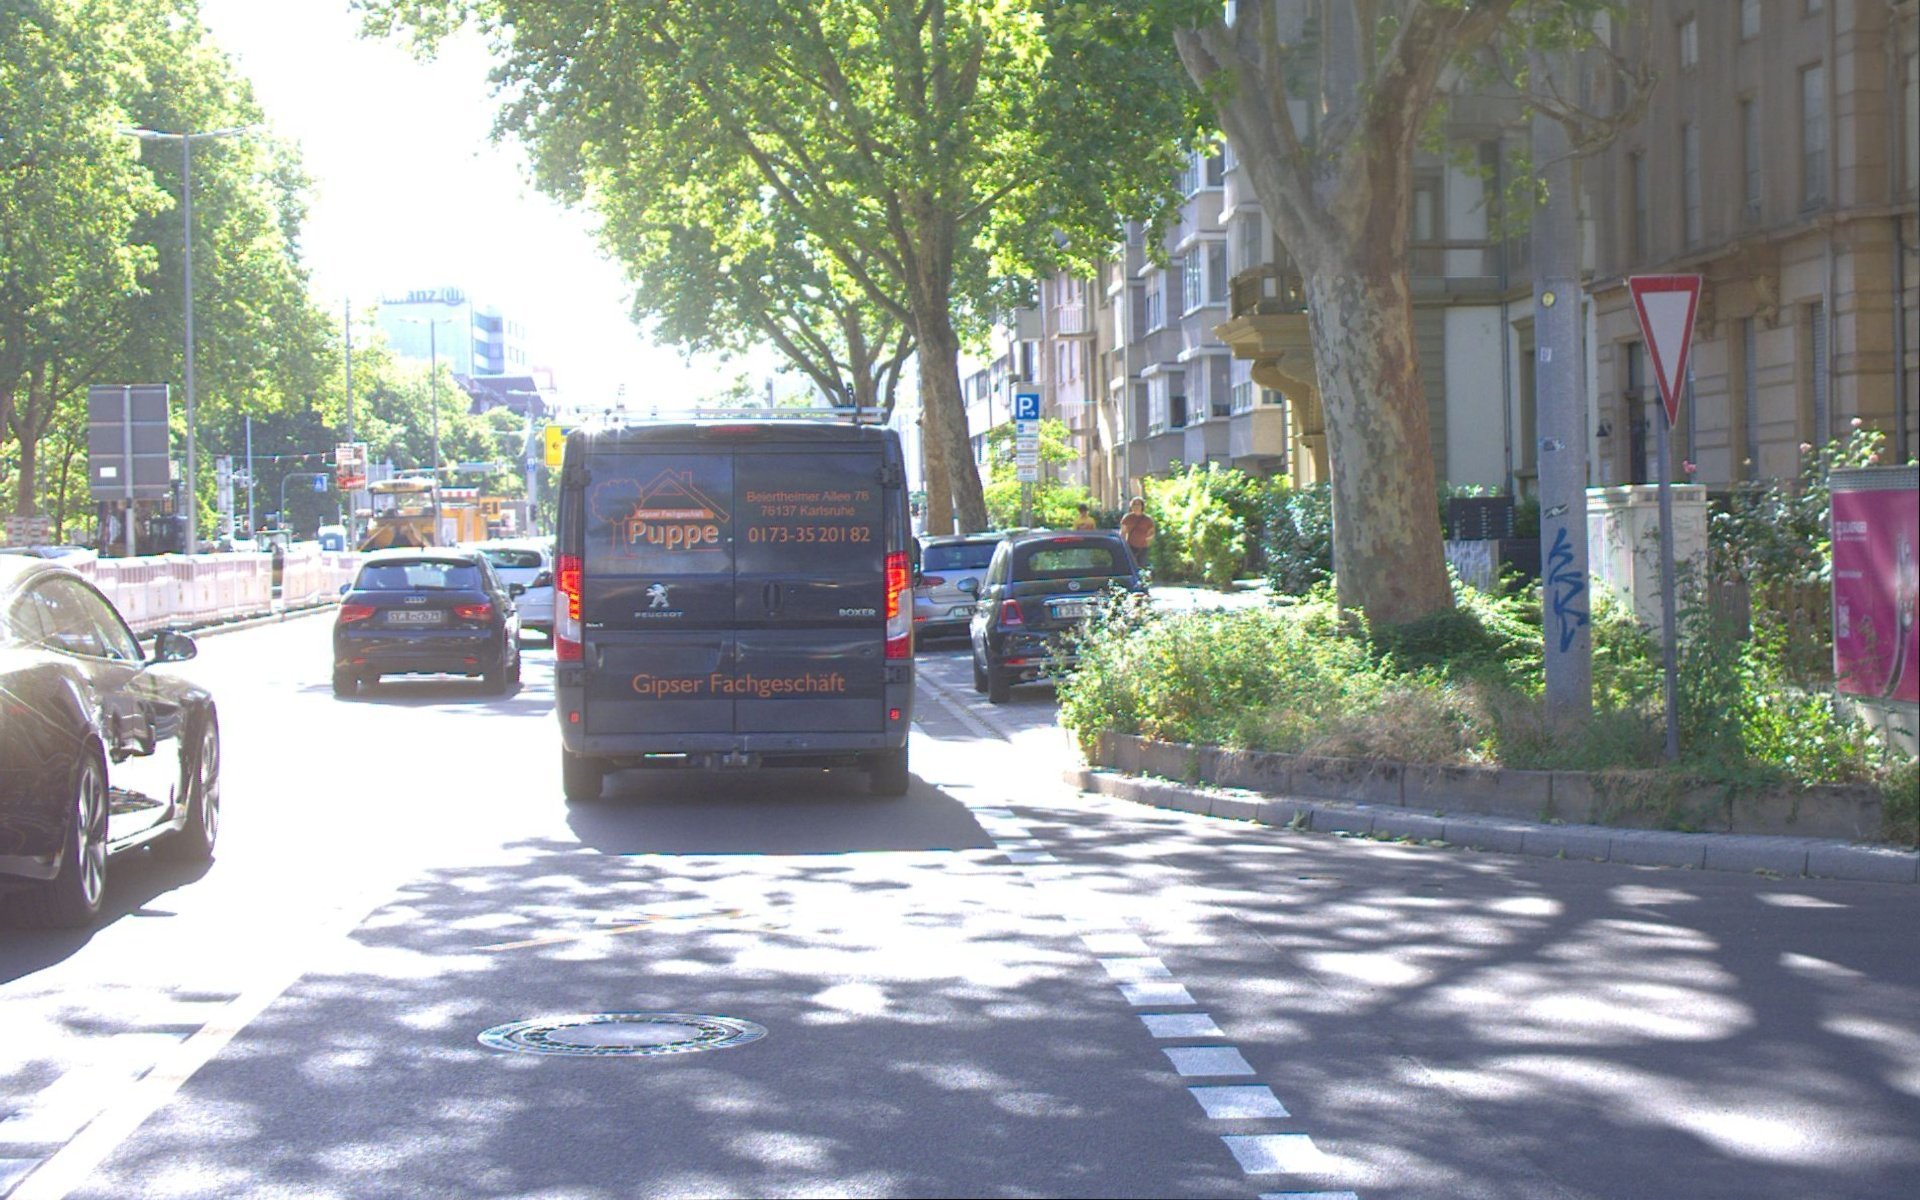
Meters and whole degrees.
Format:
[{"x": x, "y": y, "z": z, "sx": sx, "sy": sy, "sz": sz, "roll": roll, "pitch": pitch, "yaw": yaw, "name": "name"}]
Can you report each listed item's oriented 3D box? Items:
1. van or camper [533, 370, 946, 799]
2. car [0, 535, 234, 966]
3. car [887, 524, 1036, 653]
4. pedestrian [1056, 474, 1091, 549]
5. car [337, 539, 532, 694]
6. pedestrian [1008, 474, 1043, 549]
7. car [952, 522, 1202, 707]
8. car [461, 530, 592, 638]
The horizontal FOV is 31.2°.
[{"x": -1.397, "y": -0.128, "z": 21.131, "sx": 2.245, "sy": 2.338, "sz": 4.538, "roll": 0, "pitch": 1, "yaw": -5, "name": "van or camper"}, {"x": -4.216, "y": 0.483, "z": 13.969, "sx": 1.837, "sy": 1.478, "sz": 4.477, "roll": -1, "pitch": 1, "yaw": -4, "name": "car"}, {"x": -0.024, "y": -0.178, "z": 44.675, "sx": 1.772, "sy": 1.563, "sz": 4.000, "roll": -2, "pitch": 1, "yaw": -2, "name": "car"}, {"x": 3.518, "y": -2.743, "z": 106.790, "sx": 1.057, "sy": 2.338, "sz": 0.816, "roll": 0, "pitch": 0, "yaw": -1, "name": "pedestrian"}, {"x": -5.255, "y": 0.122, "z": 34.744, "sx": 1.619, "sy": 1.481, "sz": 3.734, "roll": 0, "pitch": 1, "yaw": -4, "name": "car"}, {"x": 2.042, "y": -2.754, "z": 107.287, "sx": 1.057, "sy": 2.338, "sz": 0.816, "roll": 0, "pitch": 0, "yaw": -1, "name": "pedestrian"}, {"x": 1.014, "y": 0.095, "z": 31.816, "sx": 1.772, "sy": 1.563, "sz": 4.001, "roll": -1, "pitch": 1, "yaw": -5, "name": "car"}, {"x": -6.125, "y": -0.252, "z": 48.843, "sx": 1.619, "sy": 1.481, "sz": 3.734, "roll": 0, "pitch": 1, "yaw": -4, "name": "car"}]
